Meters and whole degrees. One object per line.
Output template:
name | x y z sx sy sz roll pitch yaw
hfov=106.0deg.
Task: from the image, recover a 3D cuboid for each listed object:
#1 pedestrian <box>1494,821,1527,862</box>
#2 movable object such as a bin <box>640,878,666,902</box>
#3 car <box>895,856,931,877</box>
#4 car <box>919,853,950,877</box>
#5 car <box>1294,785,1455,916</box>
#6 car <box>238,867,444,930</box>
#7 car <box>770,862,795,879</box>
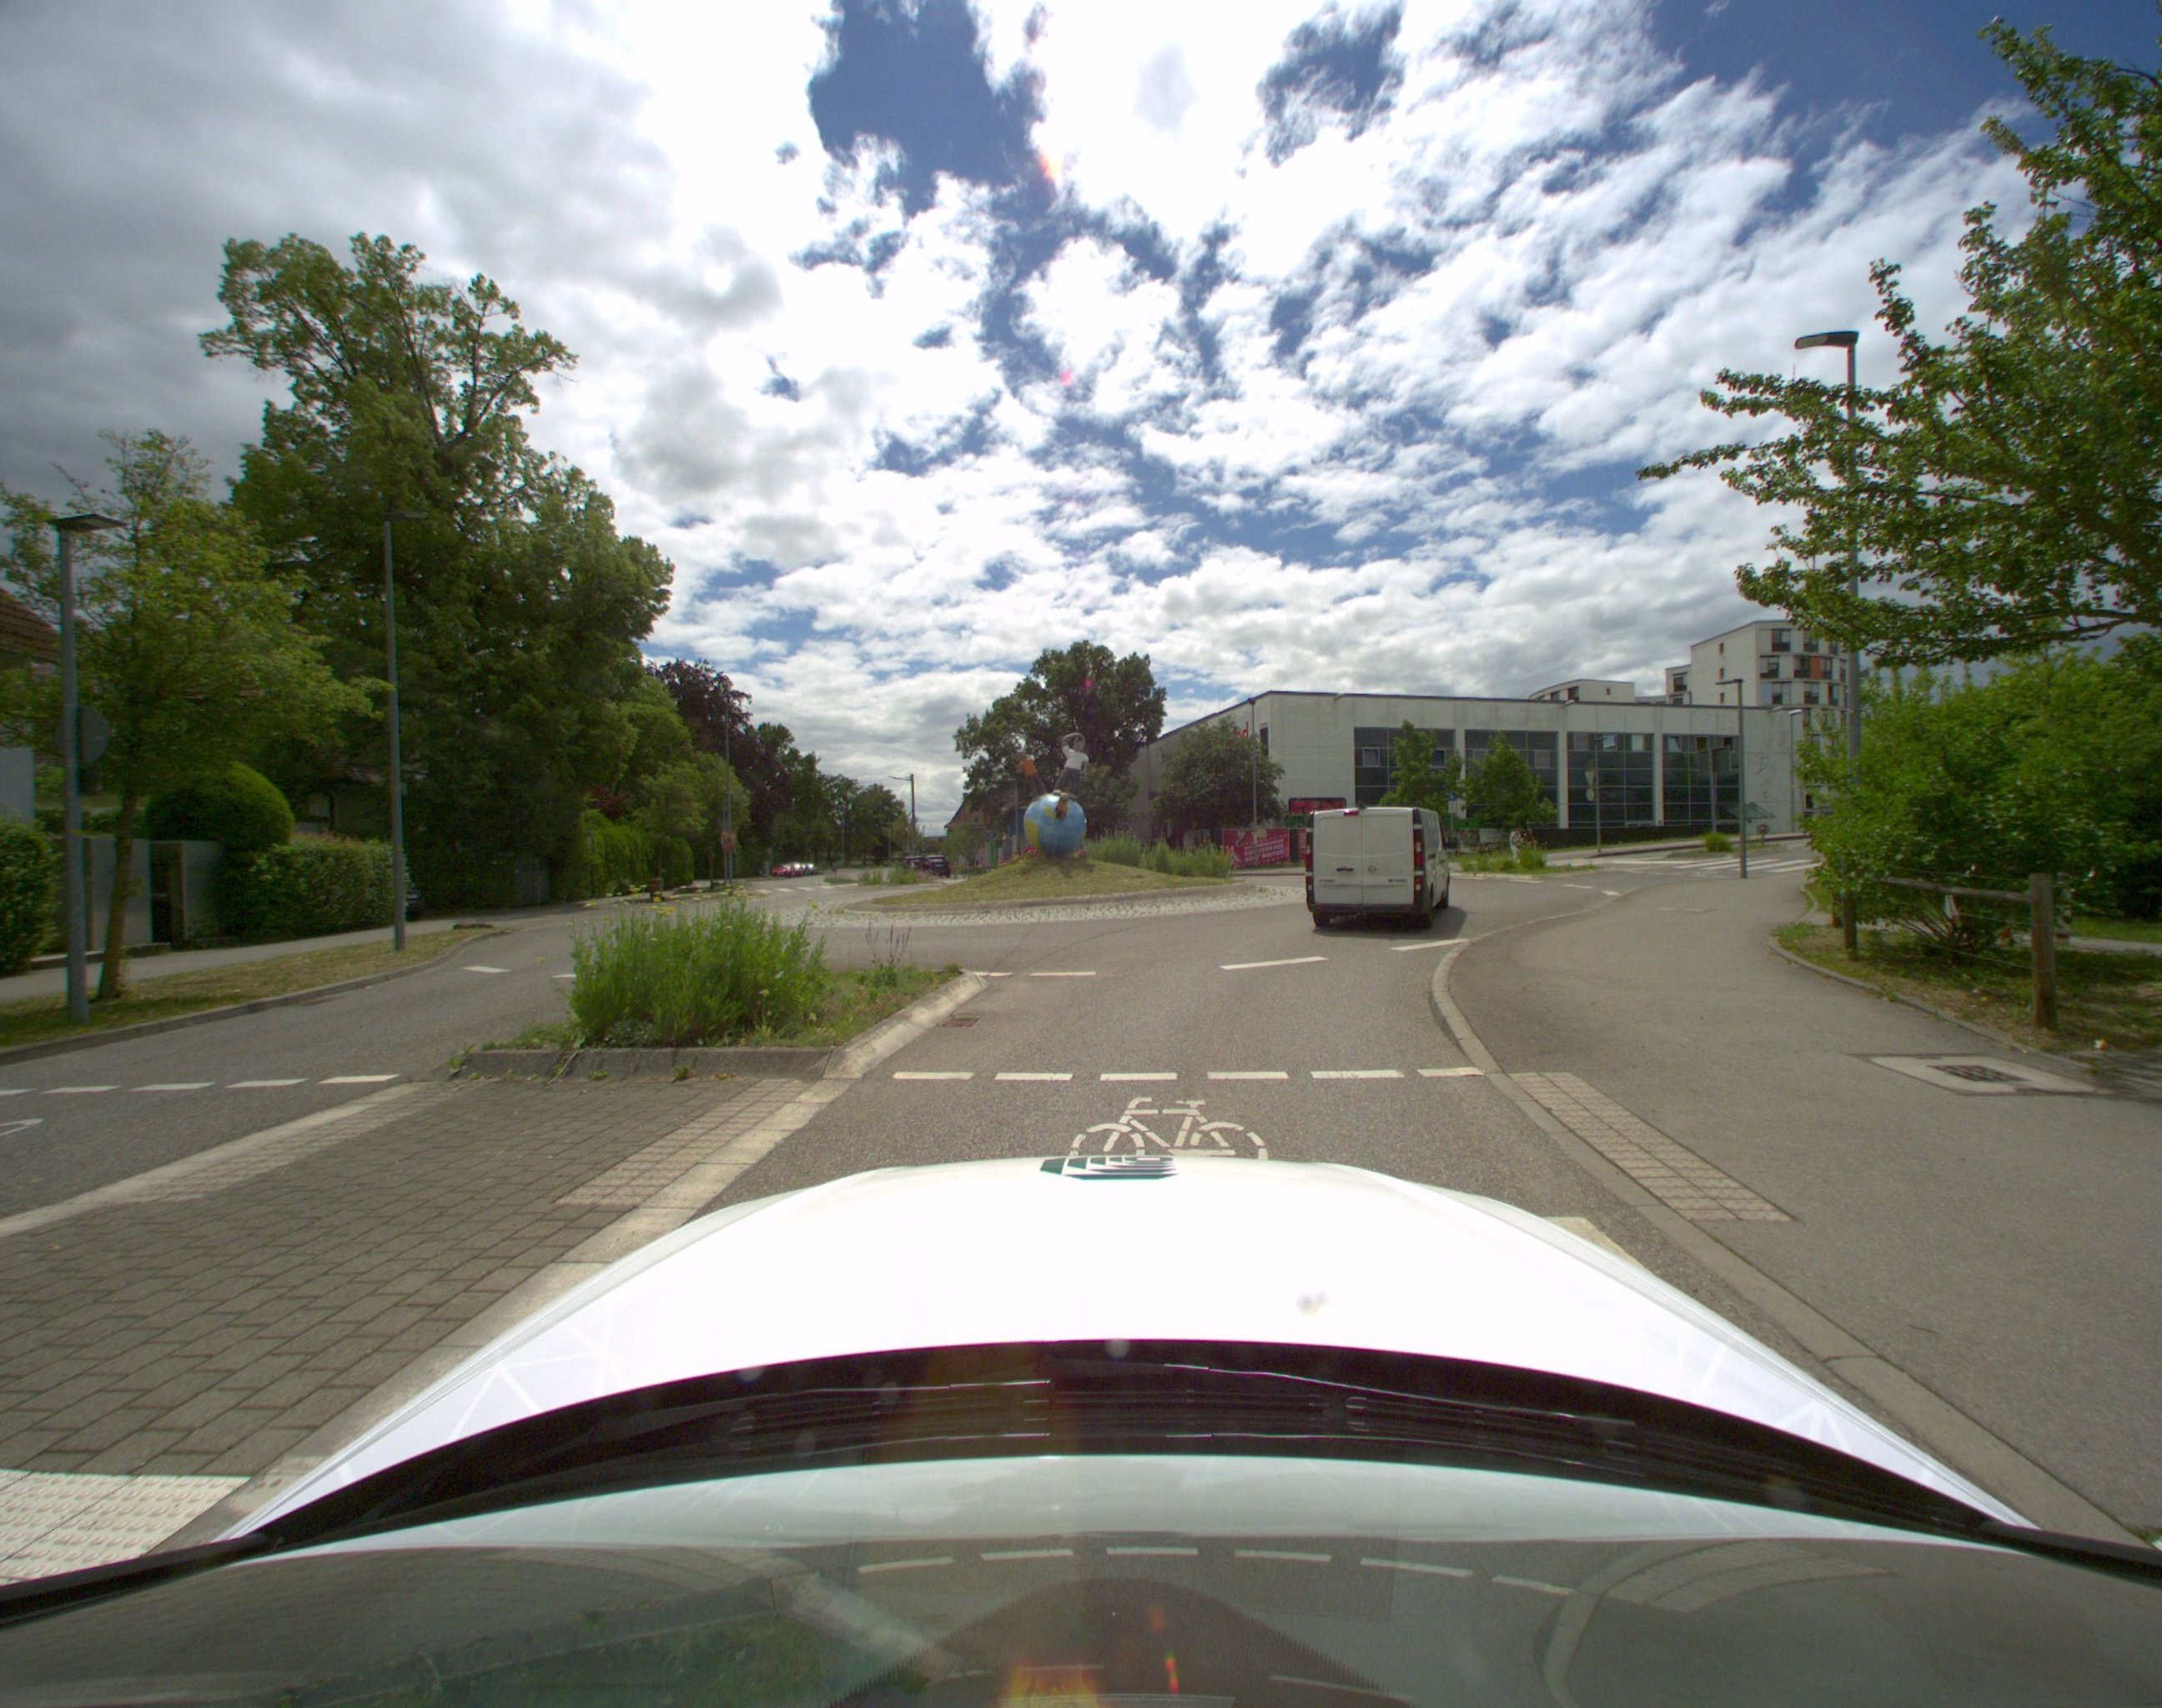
pedestrian | 16.403 -0.469 31.114 1.024 1.541 0.901 1 0 33
movable object such as a bin | -16.830 1.411 32.034 0.628 0.863 0.639 -3 0 -3
car | -12.995 0.948 62.715 1.928 1.500 3.894 -1 1 -24
car | -9.987 0.714 55.446 1.934 1.537 3.909 -1 1 -12
car | 5.482 -0.070 14.739 2.015 1.945 5.024 1 0 28
car | -21.200 1.242 23.483 3.975 1.486 1.999 -3 1 -1
car | -28.499 1.545 77.624 2.071 1.386 4.017 -1 1 -22
